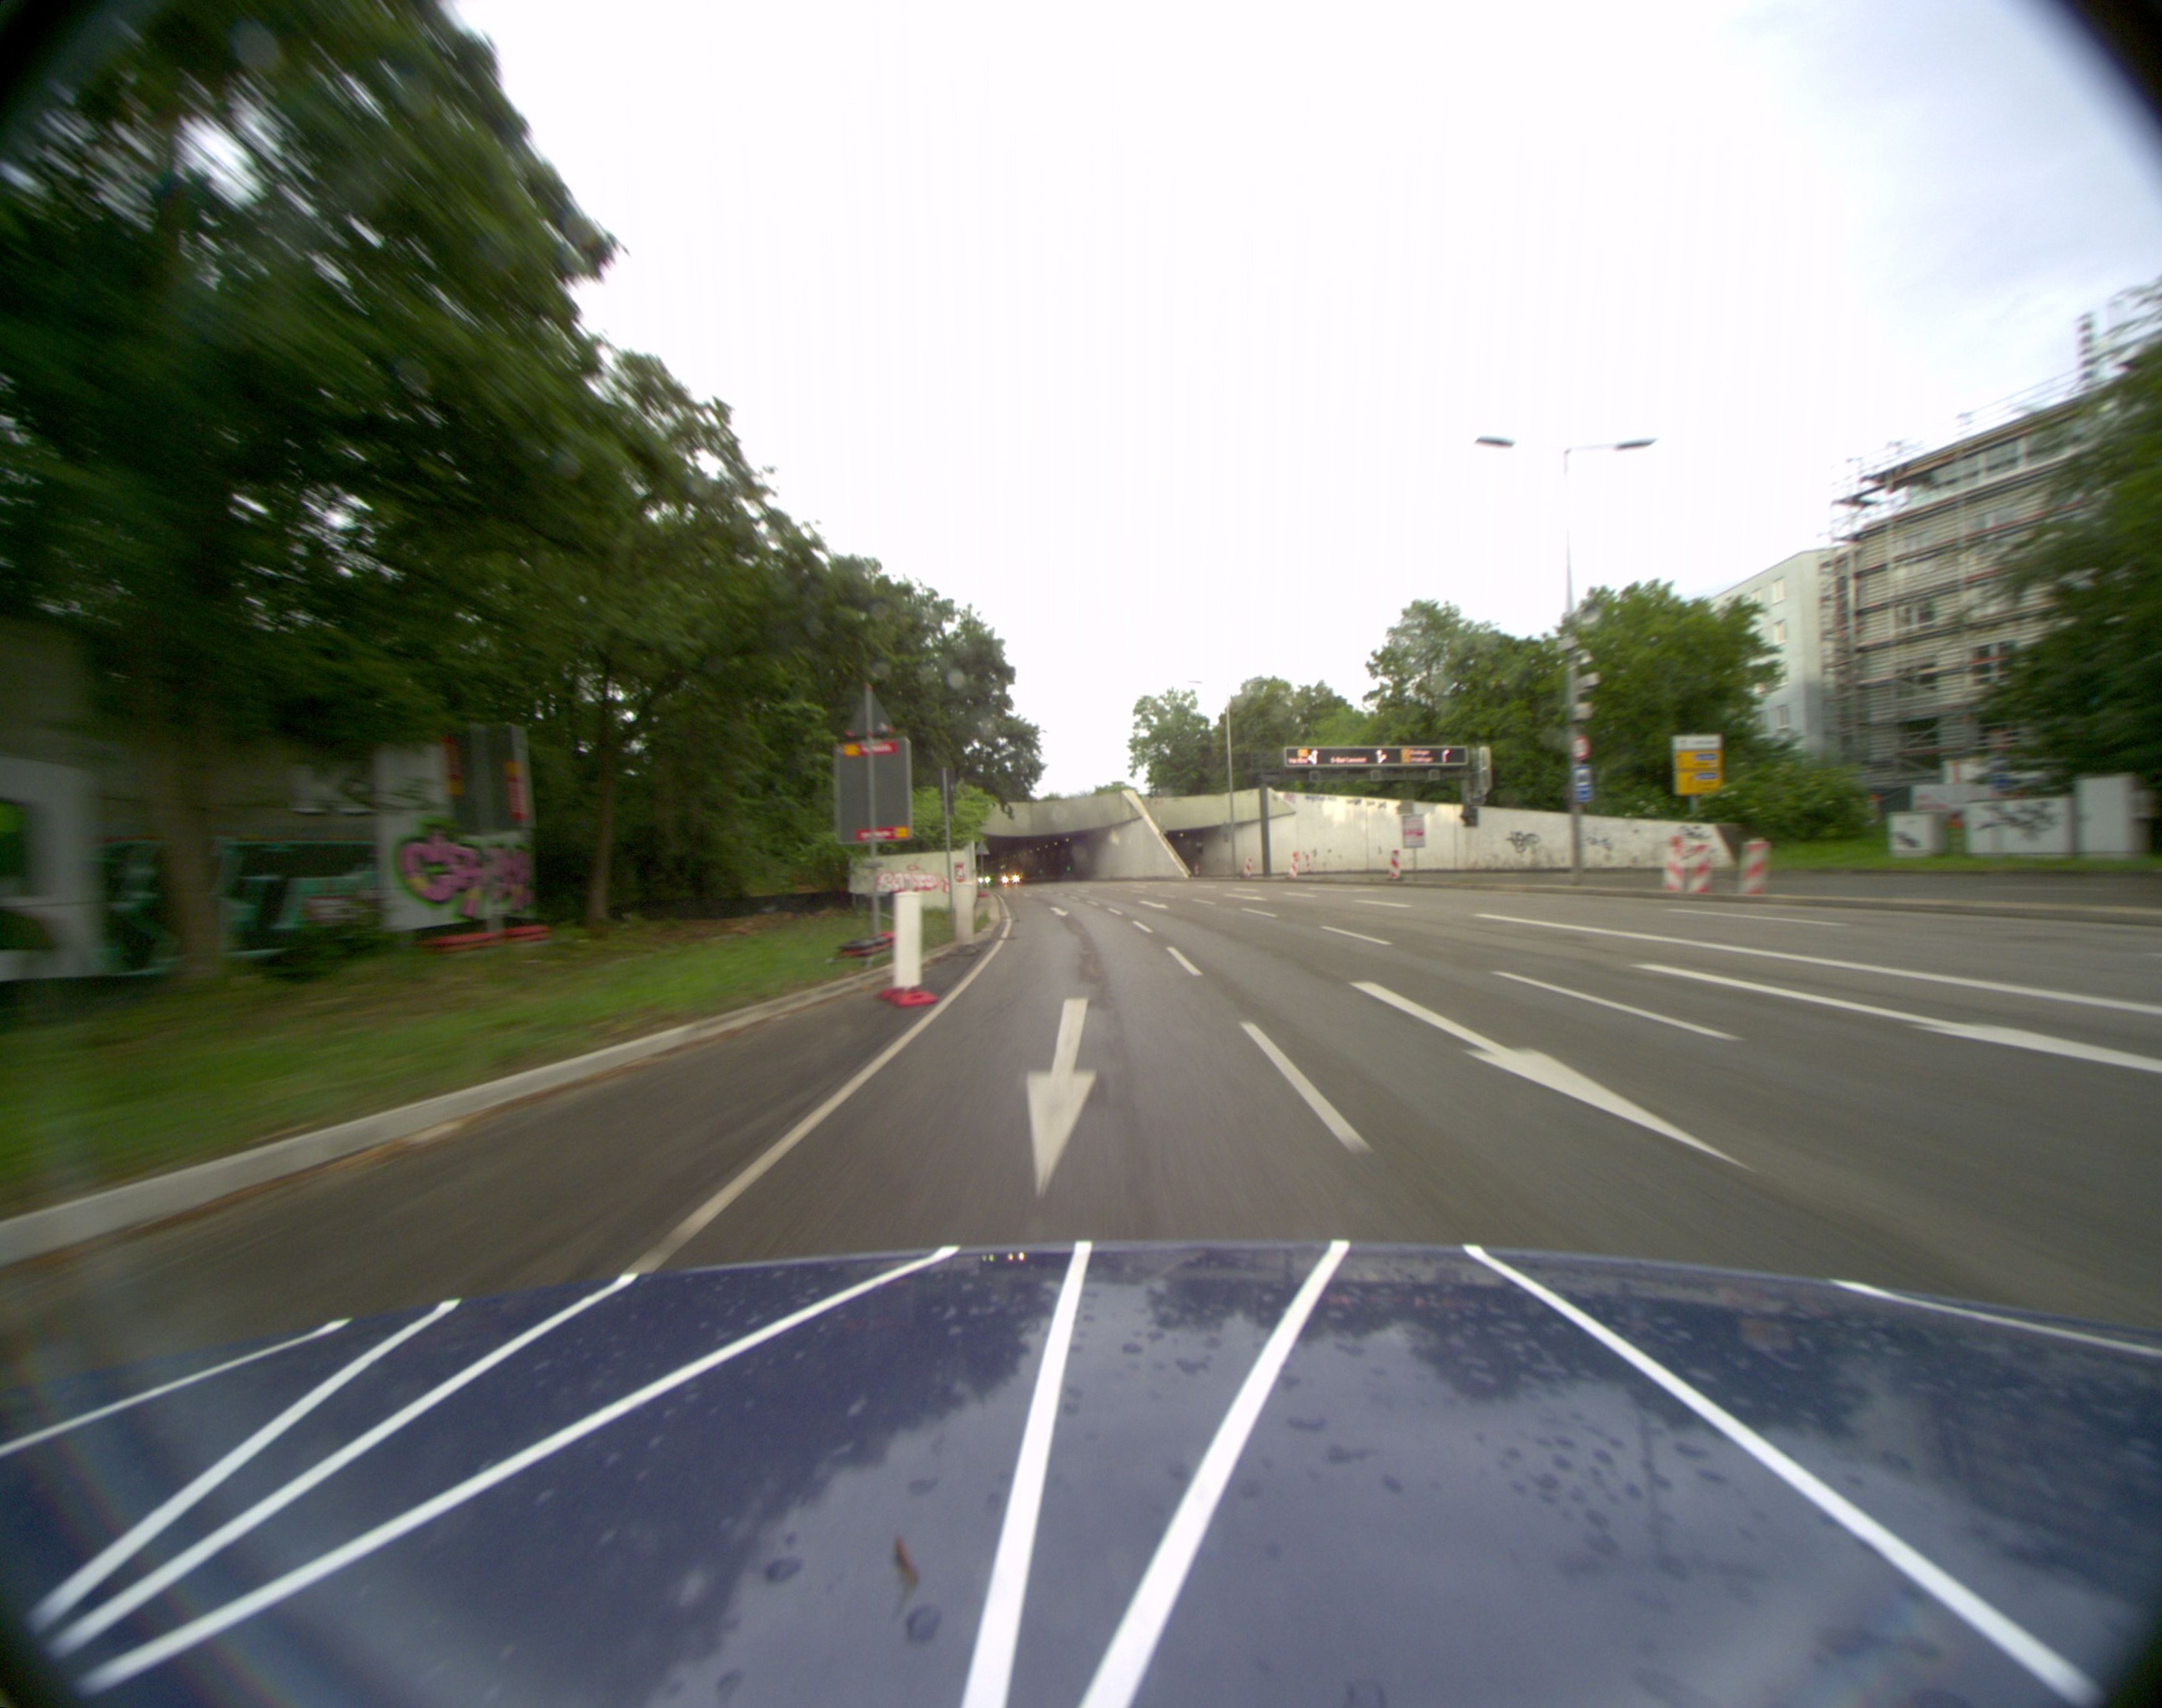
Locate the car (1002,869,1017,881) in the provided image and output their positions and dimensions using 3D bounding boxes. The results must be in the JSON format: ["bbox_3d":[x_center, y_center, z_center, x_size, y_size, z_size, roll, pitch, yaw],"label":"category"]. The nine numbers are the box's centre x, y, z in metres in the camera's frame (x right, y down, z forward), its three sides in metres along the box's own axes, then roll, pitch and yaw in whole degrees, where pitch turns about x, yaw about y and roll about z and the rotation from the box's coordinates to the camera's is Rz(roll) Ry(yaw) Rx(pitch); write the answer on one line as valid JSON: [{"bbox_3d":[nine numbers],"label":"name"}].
[{"bbox_3d":[-9.490,2.732,100.875,1.699,1.393,3.821,-2,1,-10],"label":"car"}]

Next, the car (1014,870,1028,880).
[{"bbox_3d":[-9.504,3.306,120.008,1.699,1.300,3.821,-2,1,-10],"label":"car"}]

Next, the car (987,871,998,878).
[{"bbox_3d":[-17.567,4.038,150.551,1.961,1.300,3.821,-2,1,-9],"label":"car"}]
